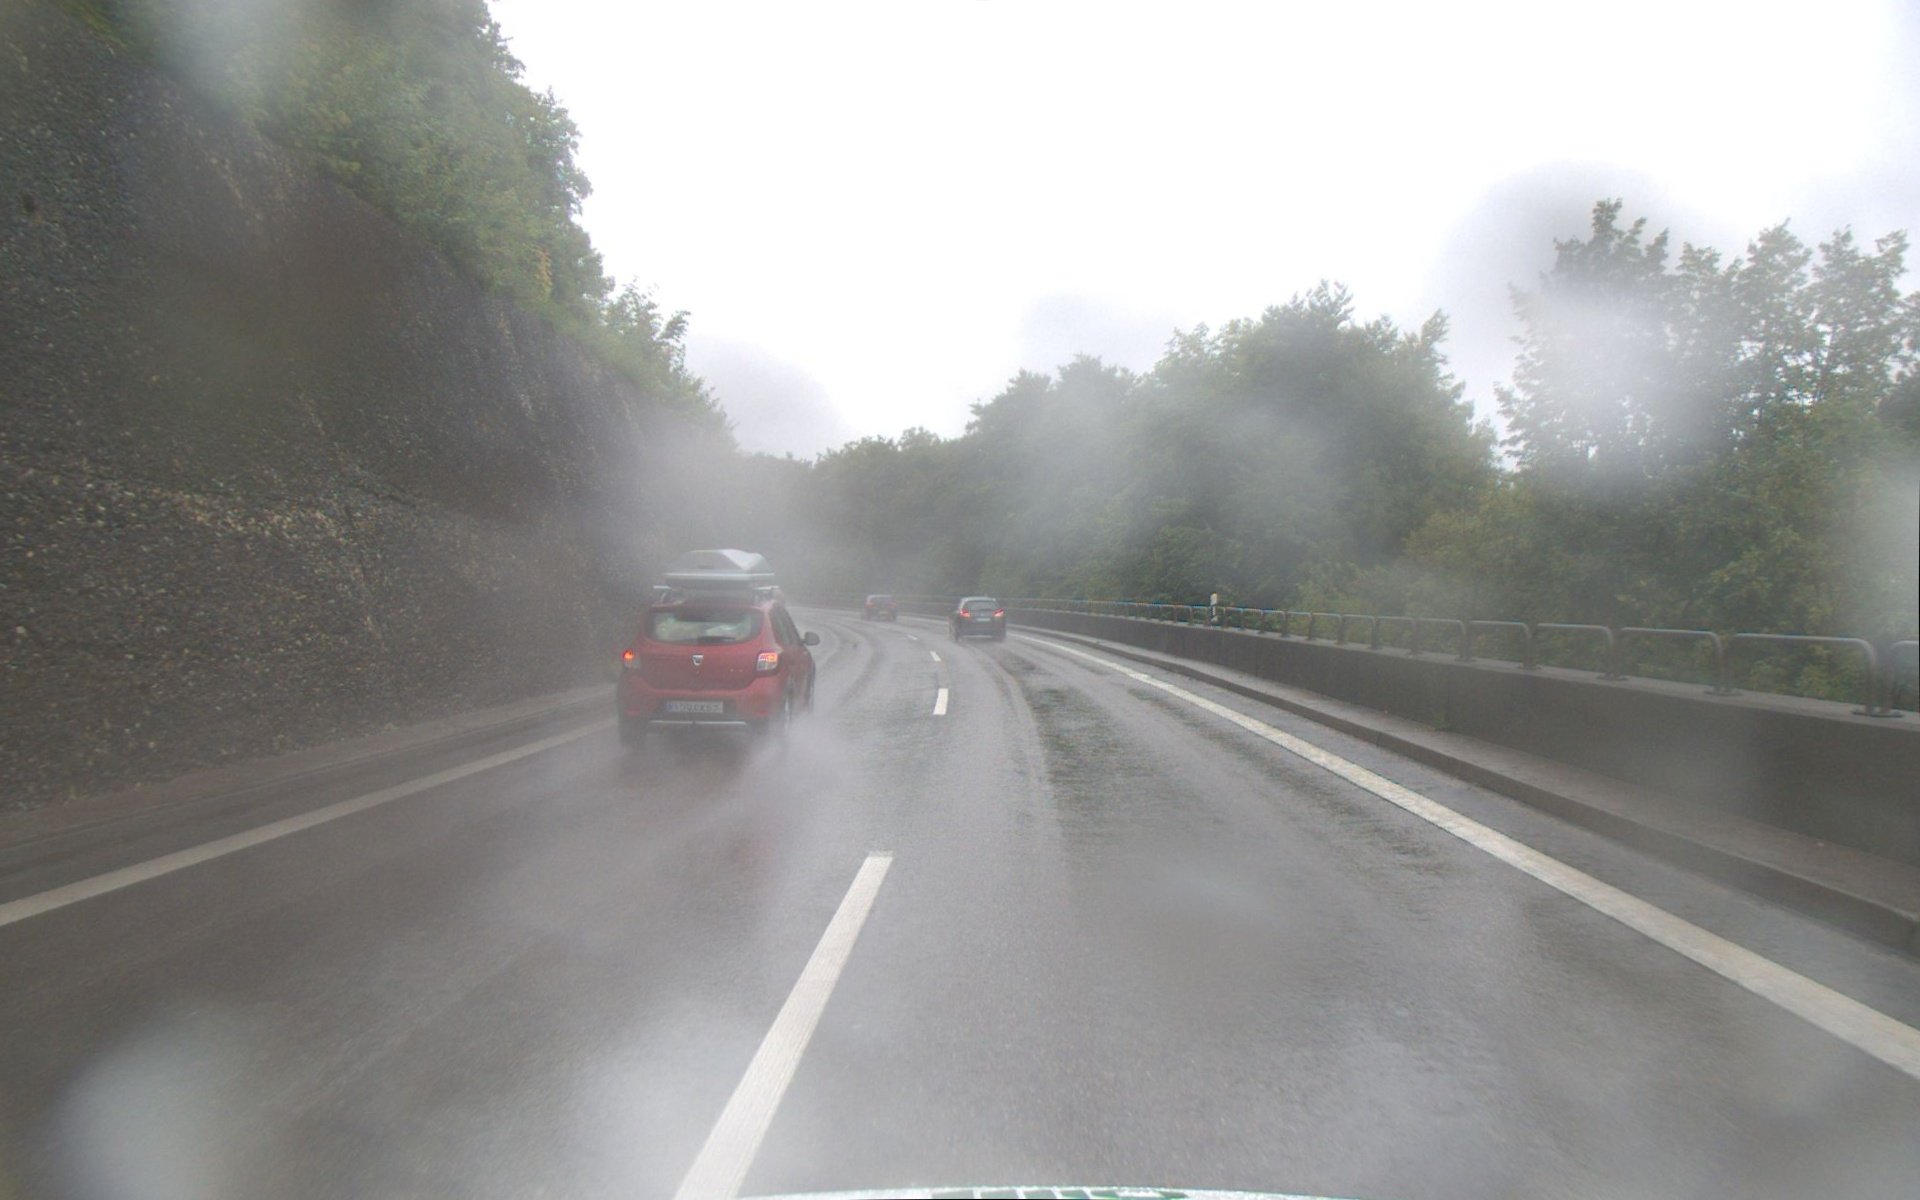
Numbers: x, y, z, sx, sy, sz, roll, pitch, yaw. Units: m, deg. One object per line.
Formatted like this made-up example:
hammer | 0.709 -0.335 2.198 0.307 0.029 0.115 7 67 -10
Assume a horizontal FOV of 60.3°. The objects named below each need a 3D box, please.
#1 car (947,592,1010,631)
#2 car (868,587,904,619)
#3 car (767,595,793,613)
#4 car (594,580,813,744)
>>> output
car | 0.608 0.384 57.819 1.765 1.330 3.995 0 0 -6
car | -4.312 0.192 95.883 1.954 1.780 3.996 1 -1 -5
car | -14.842 0.348 136.498 1.768 1.492 3.988 0 0 -12
car | -2.664 0.595 18.047 1.954 1.579 3.997 0 0 -3
